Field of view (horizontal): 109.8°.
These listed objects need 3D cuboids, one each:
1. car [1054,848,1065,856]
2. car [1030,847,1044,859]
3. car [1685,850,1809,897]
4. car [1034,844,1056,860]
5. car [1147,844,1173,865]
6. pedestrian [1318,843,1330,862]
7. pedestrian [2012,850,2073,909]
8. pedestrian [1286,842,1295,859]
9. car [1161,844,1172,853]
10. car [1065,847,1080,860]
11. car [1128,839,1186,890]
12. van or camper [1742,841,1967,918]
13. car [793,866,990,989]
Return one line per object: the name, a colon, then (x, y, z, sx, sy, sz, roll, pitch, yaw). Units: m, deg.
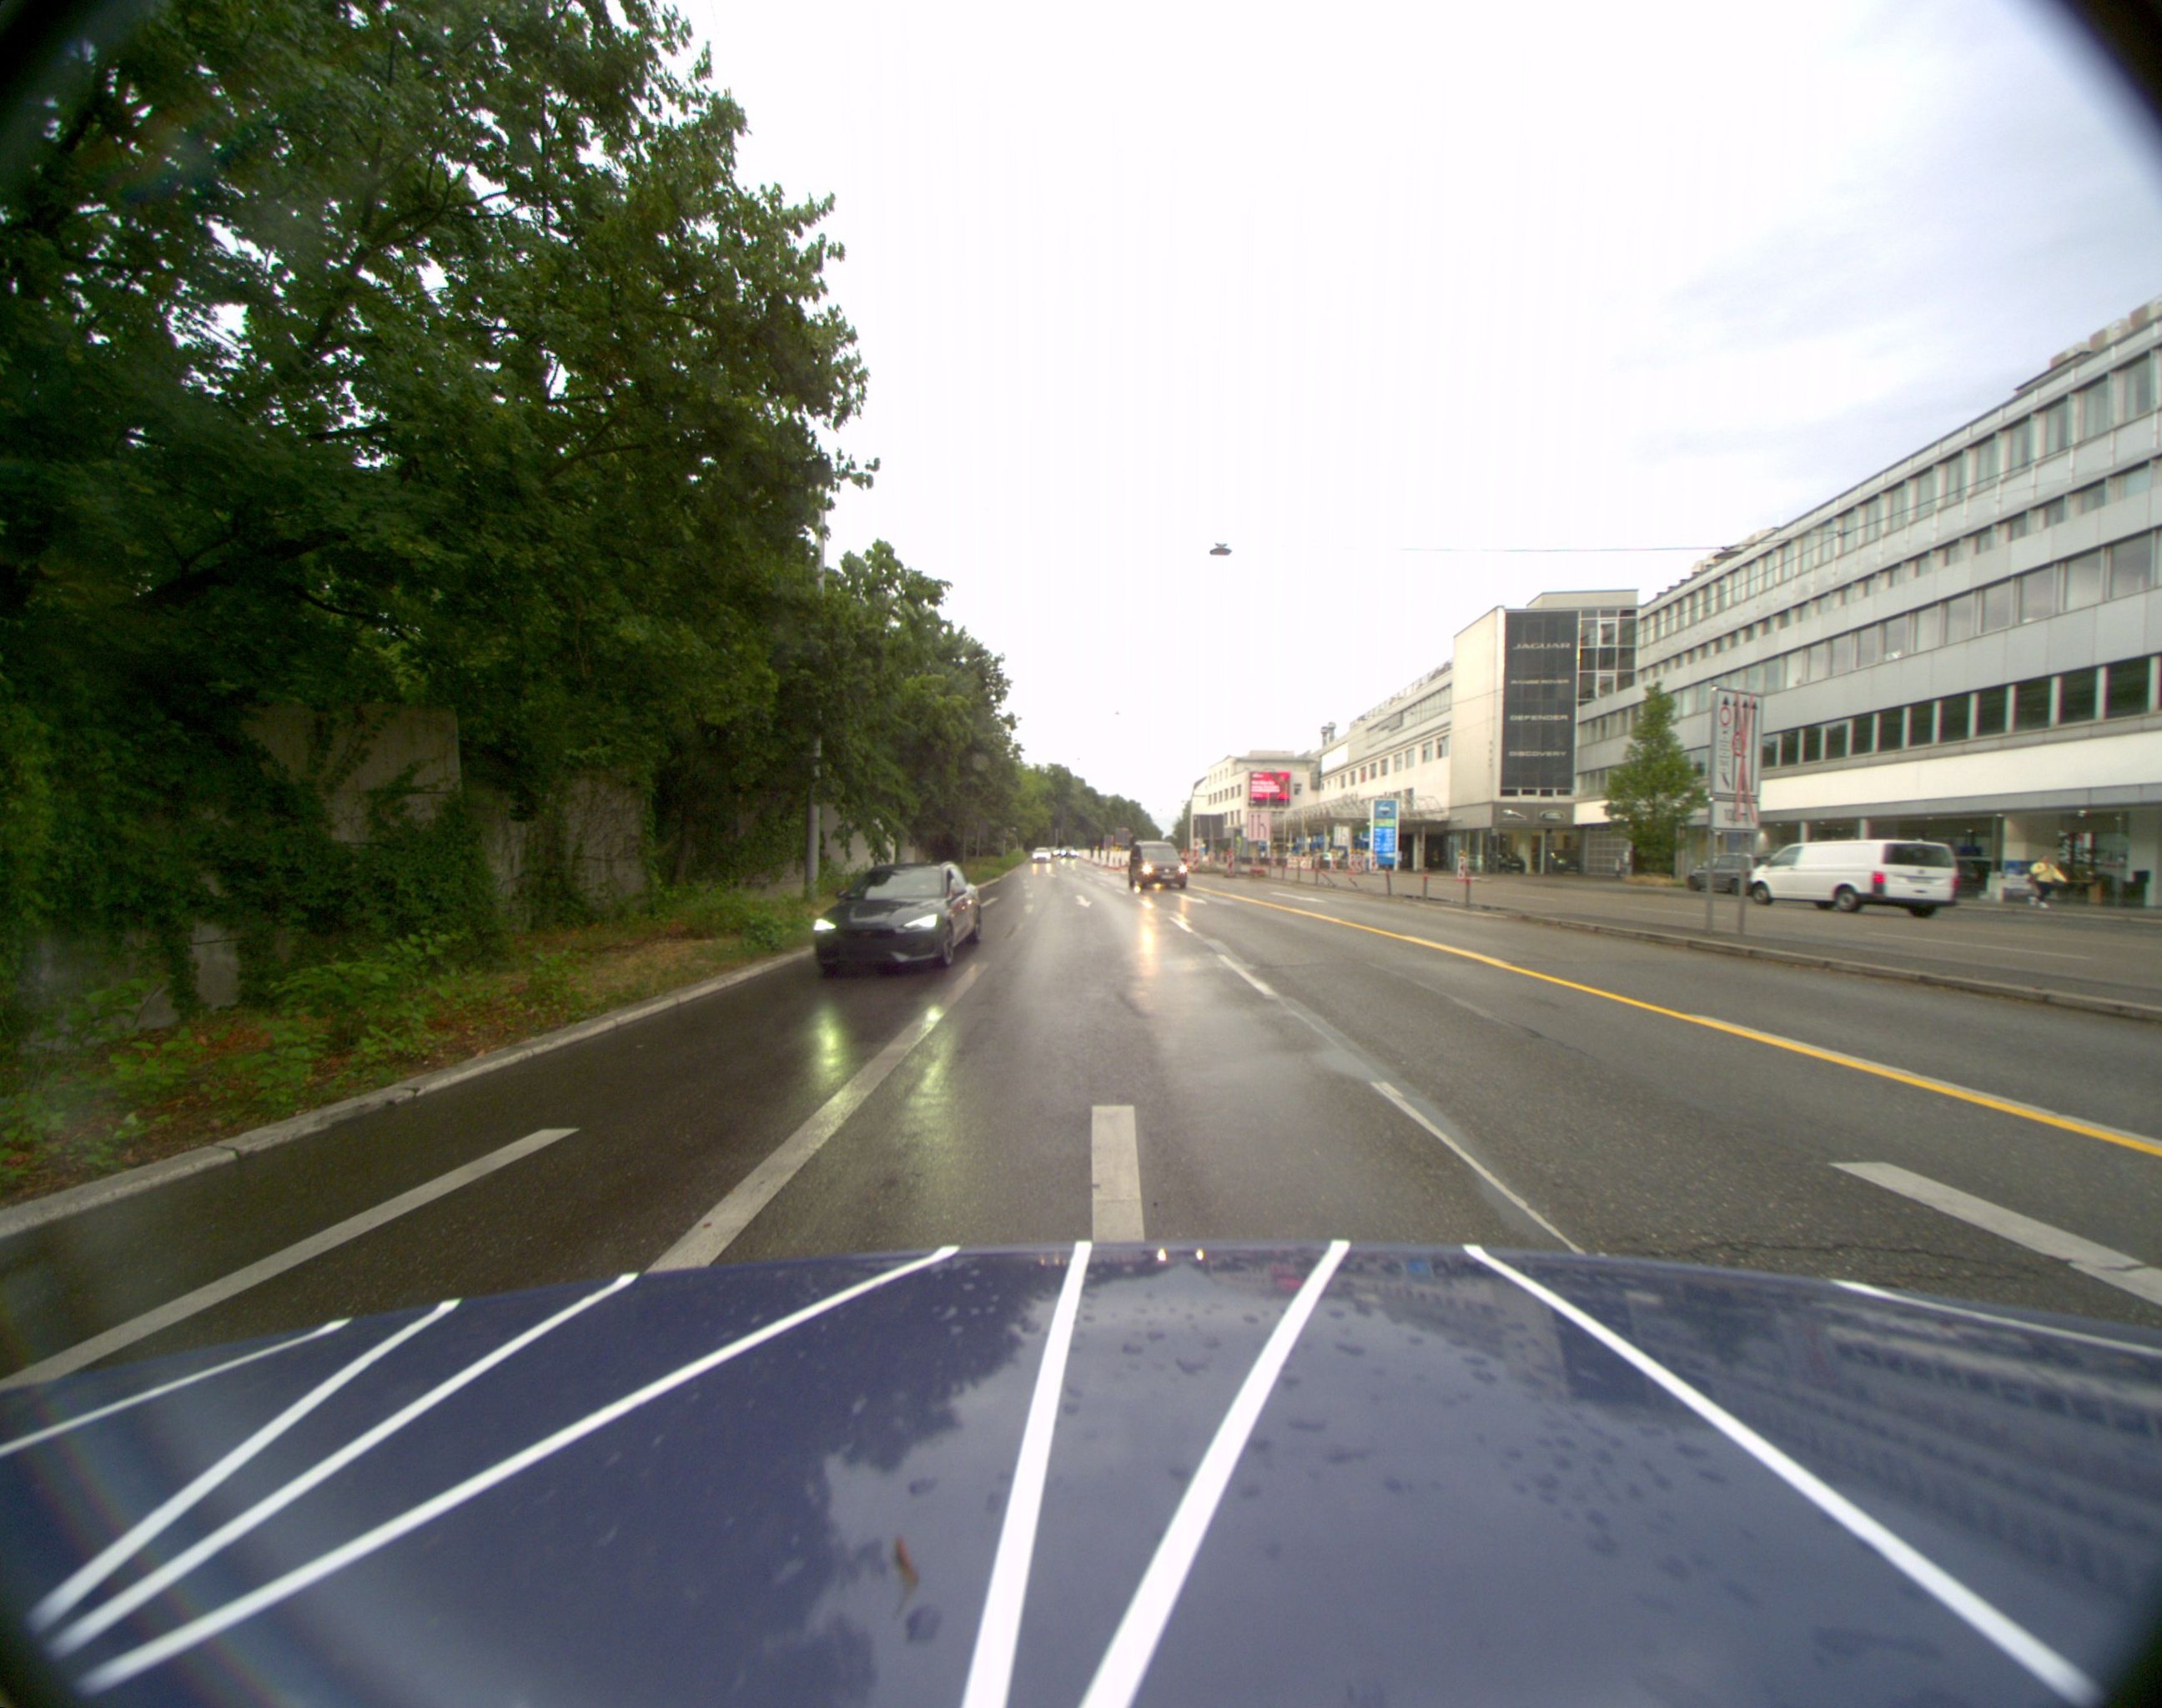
car: (-4.096, -0.421, 147.966, 1.814, 1.590, 4.333, -2, 1, 2)
car: (-6.198, -0.119, 106.472, 1.814, 1.590, 4.332, -2, 1, -2)
car: (28.388, 0.767, 32.597, 1.922, 1.805, 4.166, -2, 1, 6)
car: (-3.626, -0.240, 77.034, 1.814, 1.444, 4.333, -2, 1, 2)
car: (6.365, 0.019, 61.295, 1.771, 1.608, 3.949, -2, 1, 2)
pedestrian: (23.606, -0.158, 73.748, 0.895, 1.804, 0.941, -2, 1, 5)
pedestrian: (29.486, 0.770, 23.307, 0.761, 1.765, 0.864, -2, 1, 8)
pedestrian: (23.463, -0.383, 85.233, 0.894, 1.804, 0.942, -2, 1, 14)
car: (15.804, -0.962, 140.295, 1.608, 1.635, 3.379, -2, 1, 2)
car: (-1.126, -0.058, 100.472, 1.814, 1.590, 4.332, -2, 1, -1)
car: (2.940, 0.369, 30.099, 1.905, 1.804, 4.430, -2, 1, 2)
van or camper: (21.275, 0.607, 21.257, 1.939, 1.913, 4.687, 0, 1, 8)
car: (-2.628, 0.956, 11.694, 1.752, 1.395, 4.414, -3, 0, 1)
